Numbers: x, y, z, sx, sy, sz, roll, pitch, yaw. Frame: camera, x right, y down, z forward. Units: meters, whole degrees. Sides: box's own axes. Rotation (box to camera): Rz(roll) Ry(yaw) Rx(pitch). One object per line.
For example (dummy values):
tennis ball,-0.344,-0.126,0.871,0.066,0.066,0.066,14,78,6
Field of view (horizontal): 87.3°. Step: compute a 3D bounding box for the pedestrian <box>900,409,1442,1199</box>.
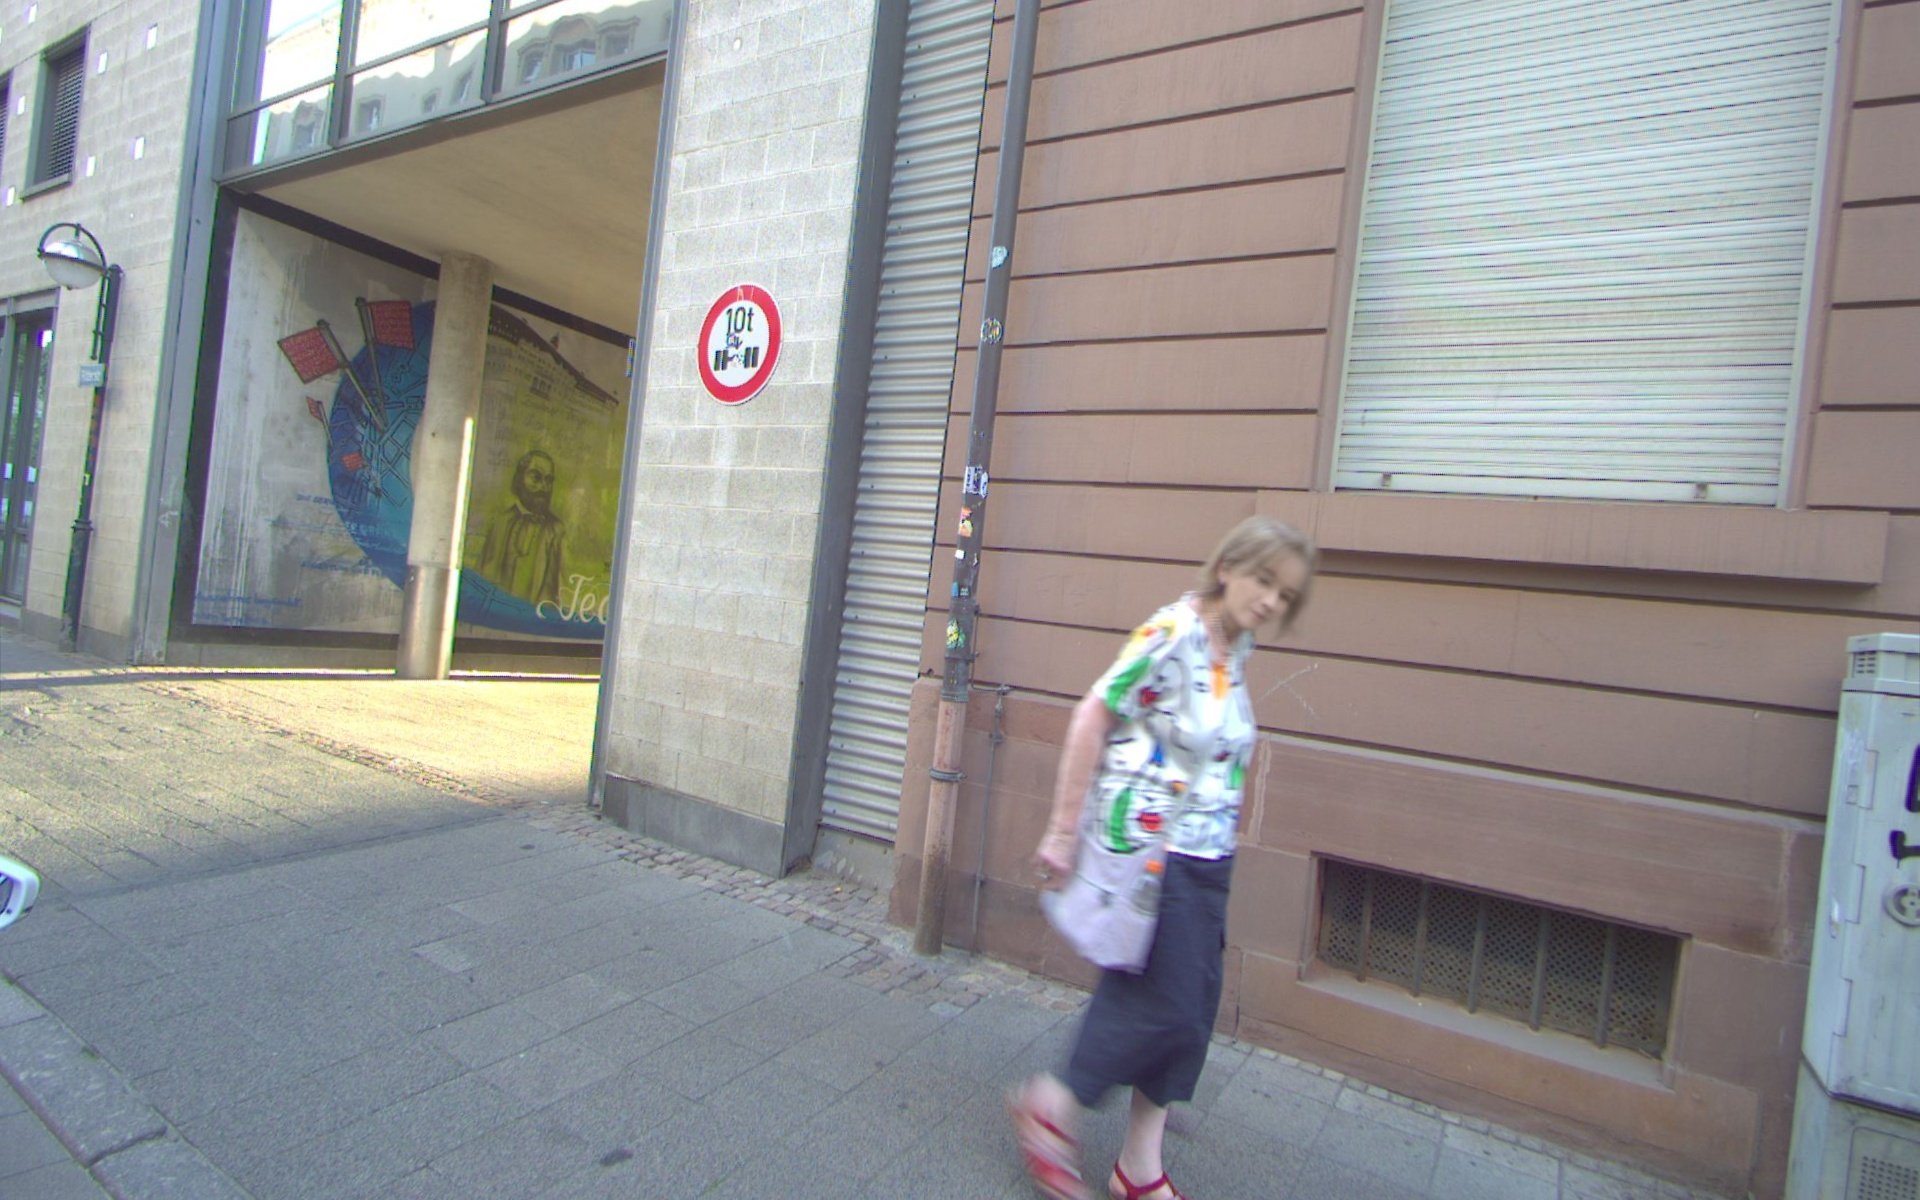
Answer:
pedestrian,0.530,0.540,2.481,0.883,1.827,0.844,7,3,37
